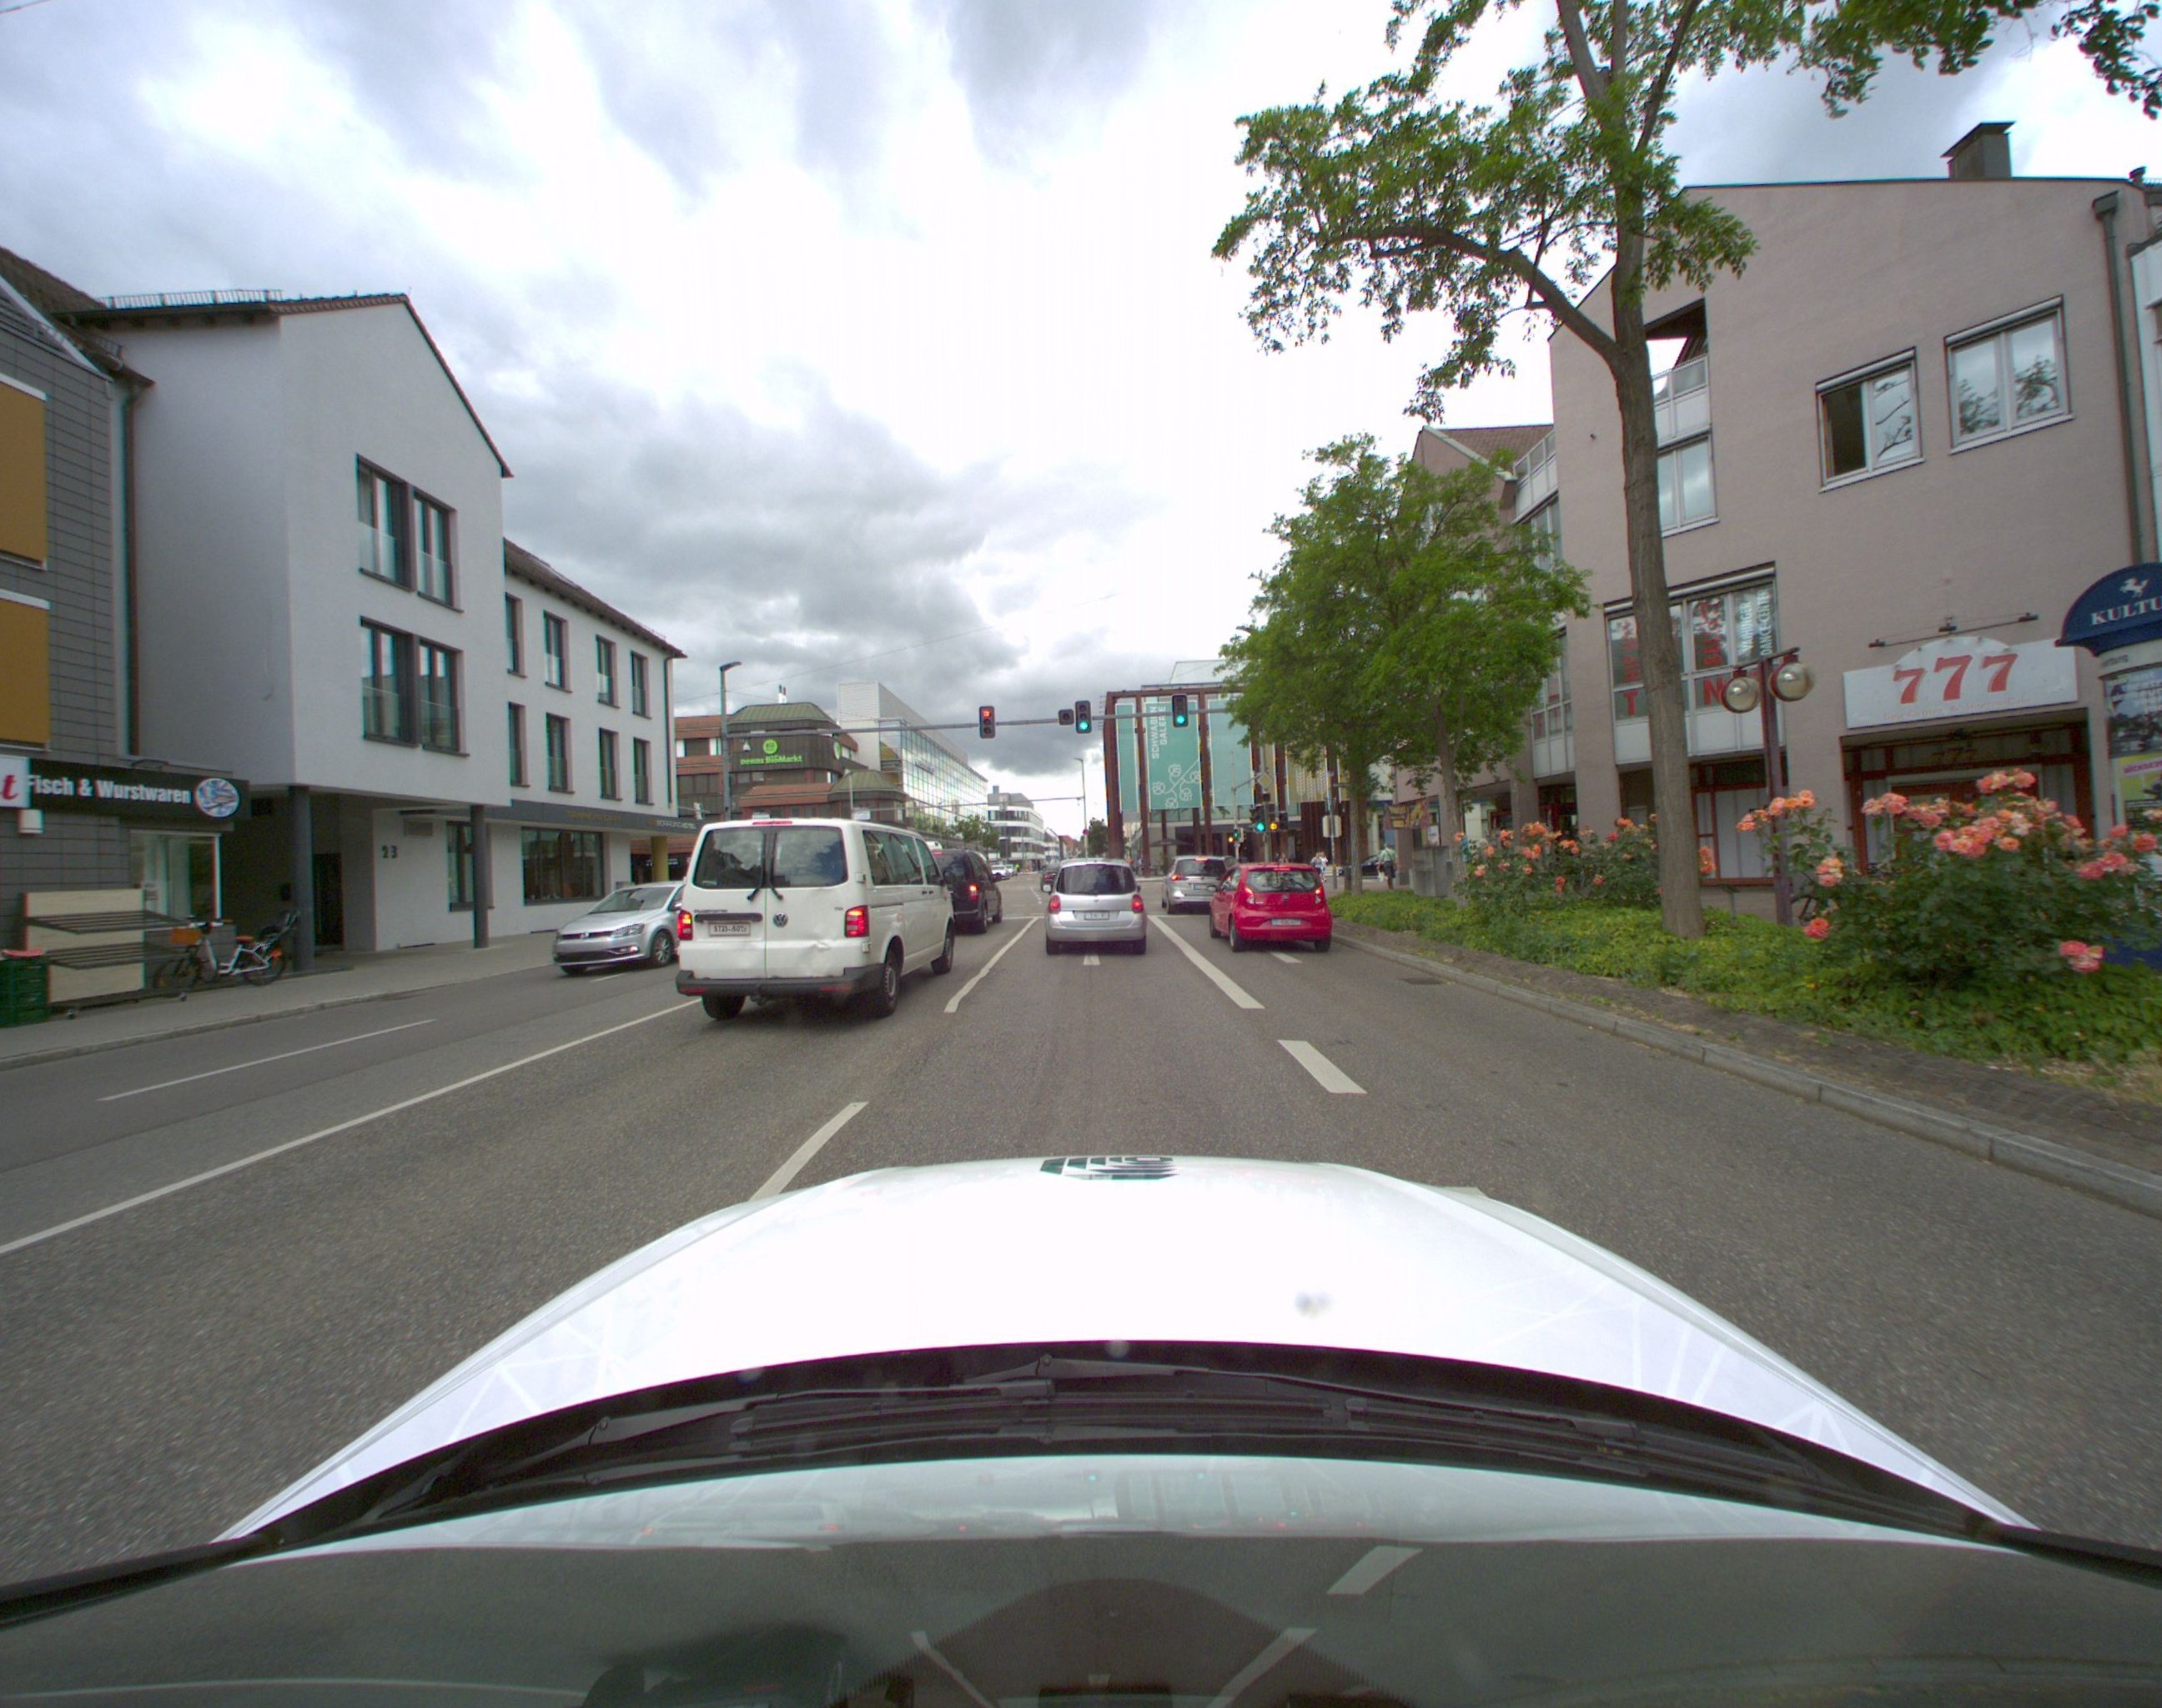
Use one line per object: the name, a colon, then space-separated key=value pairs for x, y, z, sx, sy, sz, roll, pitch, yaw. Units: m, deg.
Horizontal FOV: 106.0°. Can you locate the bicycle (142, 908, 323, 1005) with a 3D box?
bicycle: x=-13.178 y=1.543 z=12.757 sx=0.580 sy=1.232 sz=2.119 roll=-2 pitch=0 yaw=0

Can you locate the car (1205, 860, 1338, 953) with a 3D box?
car: x=3.295 y=0.853 z=14.759 sx=1.620 sy=1.448 sz=3.643 roll=-1 pitch=0 yaw=1

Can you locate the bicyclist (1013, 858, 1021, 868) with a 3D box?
bicyclist: x=-10.827 y=1.463 z=138.015 sx=1.011 sy=1.660 sz=0.925 roll=0 pitch=-1 yaw=-26

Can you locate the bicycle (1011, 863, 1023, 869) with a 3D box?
bicycle: x=-10.820 y=2.049 z=137.996 sx=1.011 sy=1.018 sz=3.104 roll=0 pitch=-1 yaw=-25

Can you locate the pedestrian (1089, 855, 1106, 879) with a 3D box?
pedestrian: x=1.152 y=0.948 z=57.596 sx=0.861 sy=1.646 sz=0.685 roll=-3 pitch=0 yaw=35

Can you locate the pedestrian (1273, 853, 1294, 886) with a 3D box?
pedestrian: x=10.376 y=0.766 z=41.717 sx=0.739 sy=1.626 sz=0.953 roll=-3 pitch=0 yaw=-2

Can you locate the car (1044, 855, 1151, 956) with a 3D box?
car: x=0.296 y=0.820 z=14.580 sx=1.664 sy=1.554 sz=3.643 roll=-1 pitch=0 yaw=1

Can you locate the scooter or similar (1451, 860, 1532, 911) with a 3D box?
scooter or similar: x=9.383 y=0.711 z=18.703 sx=0.471 sy=1.087 sz=1.877 roll=-3 pitch=-1 yaw=-16

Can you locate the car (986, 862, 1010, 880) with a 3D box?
car: x=-7.748 y=1.583 z=76.362 sx=1.738 sy=1.459 sz=4.235 roll=-3 pitch=0 yaw=1

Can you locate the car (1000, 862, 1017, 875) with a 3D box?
car: x=-9.486 y=1.894 z=106.175 sx=1.654 sy=1.465 sz=4.001 roll=-4 pitch=-1 yaw=1

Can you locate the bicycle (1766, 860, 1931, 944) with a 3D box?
bicycle: x=10.258 y=0.641 z=10.952 sx=1.549 sy=1.048 sz=0.409 roll=-3 pitch=-1 yaw=43

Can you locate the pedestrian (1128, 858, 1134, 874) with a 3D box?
pedestrian: x=4.010 y=0.967 z=65.595 sx=0.445 sy=1.220 sz=0.607 roll=-2 pitch=-1 yaw=4

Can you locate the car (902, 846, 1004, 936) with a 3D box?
car: x=-2.832 y=0.768 z=18.944 sx=1.703 sy=1.821 sz=4.569 roll=-1 pitch=0 yaw=-1

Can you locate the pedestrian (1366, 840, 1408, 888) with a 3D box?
pedestrian: x=11.262 y=0.365 z=30.022 sx=1.052 sy=1.715 sz=1.110 roll=-2 pitch=-1 yaw=0

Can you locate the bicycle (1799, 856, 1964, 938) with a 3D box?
bicycle: x=10.910 y=0.585 z=11.166 sx=1.549 sy=1.048 sz=0.409 roll=-3 pitch=-1 yaw=43

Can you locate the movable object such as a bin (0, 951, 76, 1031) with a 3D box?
movable object such as a bin: x=-13.122 y=1.701 z=10.147 sx=0.549 sy=0.899 sz=0.506 roll=-2 pitch=-1 yaw=-1

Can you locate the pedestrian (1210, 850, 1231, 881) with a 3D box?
pedestrian: x=7.795 y=0.621 z=45.579 sx=0.876 sy=1.681 sz=1.119 roll=-3 pitch=-1 yaw=-2

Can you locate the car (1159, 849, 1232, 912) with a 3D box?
car: x=3.333 y=0.740 z=24.371 sx=1.732 sy=1.701 sz=4.383 roll=-1 pitch=0 yaw=2

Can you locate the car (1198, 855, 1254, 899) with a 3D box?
car: x=5.901 y=0.852 z=32.730 sx=1.838 sy=1.609 sz=4.880 roll=-1 pitch=0 yaw=14

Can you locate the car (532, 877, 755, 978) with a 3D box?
car: x=-7.755 y=1.221 z=14.943 sx=1.752 sy=1.448 sz=4.036 roll=-3 pitch=-1 yaw=1

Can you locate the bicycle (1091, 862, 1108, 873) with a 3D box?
bicycle: x=1.784 y=1.351 z=79.082 sx=1.553 sy=0.992 sz=0.753 roll=-3 pitch=-1 yaw=4

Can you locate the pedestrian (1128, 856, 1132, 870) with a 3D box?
pedestrian: x=5.717 y=1.068 z=94.950 sx=0.425 sy=1.549 sz=0.481 roll=-3 pitch=-1 yaw=-1

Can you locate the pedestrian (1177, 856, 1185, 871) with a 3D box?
pedestrian: x=8.554 y=0.786 z=69.516 sx=0.513 sy=1.208 sz=0.795 roll=-3 pitch=0 yaw=-1

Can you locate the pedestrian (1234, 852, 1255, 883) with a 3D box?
pedestrian: x=9.131 y=0.746 z=45.545 sx=0.876 sy=1.681 sz=1.119 roll=-3 pitch=-1 yaw=-2

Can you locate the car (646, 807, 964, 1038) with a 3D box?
car: x=-2.799 y=0.618 z=9.635 sx=1.986 sy=2.014 sz=4.841 roll=-1 pitch=0 yaw=1

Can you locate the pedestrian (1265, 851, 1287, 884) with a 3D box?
pedestrian: x=10.900 y=0.732 z=45.527 sx=0.876 sy=1.767 sz=1.119 roll=-3 pitch=-1 yaw=-2

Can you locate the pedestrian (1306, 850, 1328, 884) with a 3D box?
pedestrian: x=11.685 y=0.628 z=40.361 sx=0.739 sy=1.626 sz=0.953 roll=-3 pitch=0 yaw=-2

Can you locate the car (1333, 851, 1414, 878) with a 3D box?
car: x=17.291 y=0.612 z=48.243 sx=4.161 sy=1.404 sz=1.799 roll=-2 pitch=0 yaw=-2

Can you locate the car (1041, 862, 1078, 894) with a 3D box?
car: x=-1.055 y=1.189 z=41.419 sx=1.664 sy=1.554 sz=3.643 roll=-1 pitch=0 yaw=1

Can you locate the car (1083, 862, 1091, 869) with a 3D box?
car: x=1.446 y=2.585 z=182.327 sx=1.654 sy=1.465 sz=4.001 roll=-4 pitch=-1 yaw=1

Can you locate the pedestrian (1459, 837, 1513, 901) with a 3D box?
pedestrian: x=10.923 y=0.395 z=22.004 sx=0.806 sy=1.626 sz=1.093 roll=-3 pitch=0 yaw=-1

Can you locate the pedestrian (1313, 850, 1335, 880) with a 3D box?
pedestrian: x=13.178 y=0.600 z=44.204 sx=0.819 sy=1.595 sz=1.038 roll=-2 pitch=-1 yaw=-2

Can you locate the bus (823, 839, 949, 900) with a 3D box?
bus: x=-12.359 y=0.855 z=53.468 sx=2.968 sy=3.327 sz=12.344 roll=-5 pitch=0 yaw=11

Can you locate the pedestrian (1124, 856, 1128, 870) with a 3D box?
pedestrian: x=5.262 y=1.072 z=94.890 sx=0.425 sy=1.549 sz=0.481 roll=-3 pitch=-1 yaw=-1
